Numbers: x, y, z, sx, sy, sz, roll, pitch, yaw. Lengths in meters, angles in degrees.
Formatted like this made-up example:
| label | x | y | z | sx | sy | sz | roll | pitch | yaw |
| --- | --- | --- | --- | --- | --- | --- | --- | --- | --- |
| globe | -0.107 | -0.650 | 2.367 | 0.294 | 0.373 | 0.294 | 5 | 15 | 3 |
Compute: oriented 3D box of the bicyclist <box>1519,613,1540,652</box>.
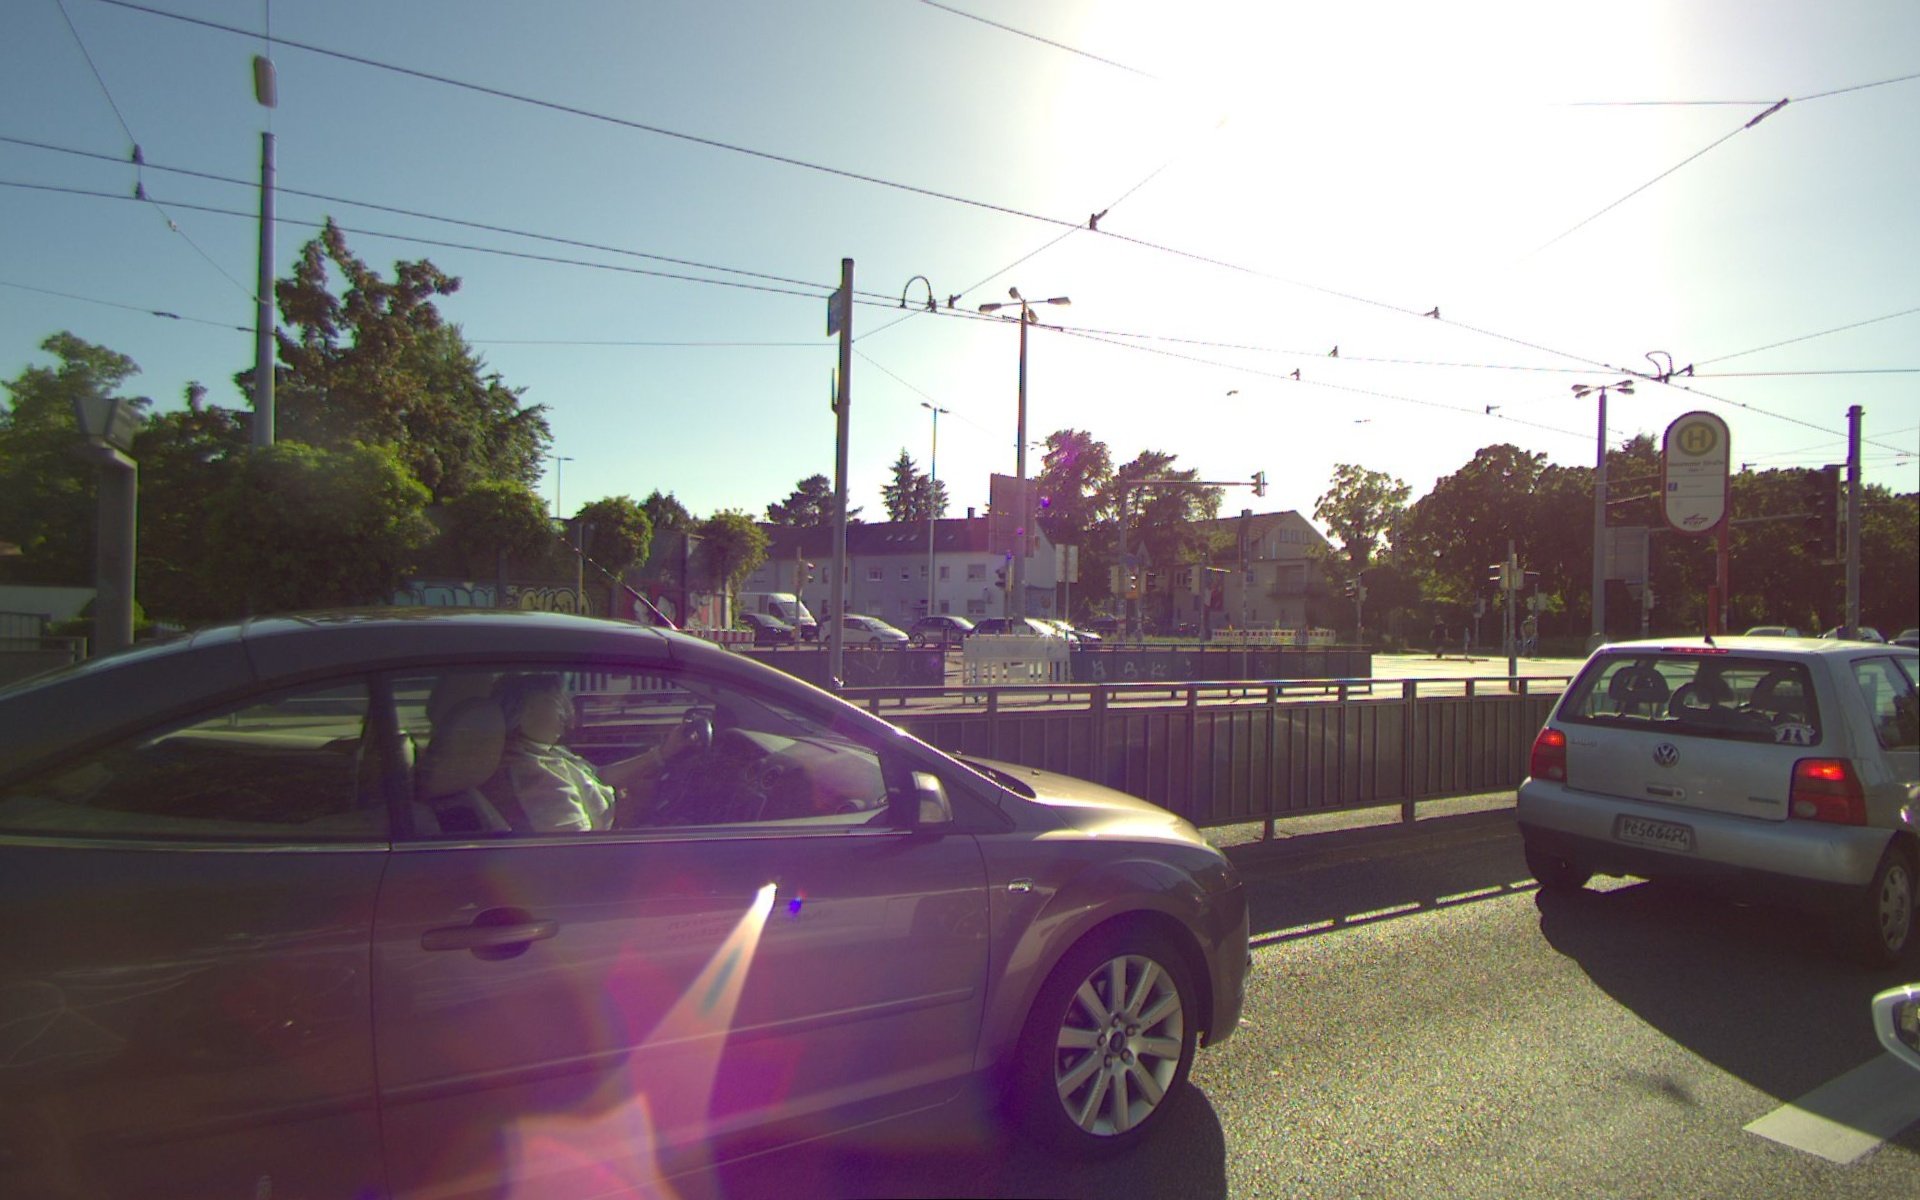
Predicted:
| label | x | y | z | sx | sy | sz | roll | pitch | yaw |
| --- | --- | --- | --- | --- | --- | --- | --- | --- | --- |
| bicyclist | 23.989 | 1.366 | 42.305 | 0.641 | 1.629 | 0.487 | 1 | -1 | -31 |

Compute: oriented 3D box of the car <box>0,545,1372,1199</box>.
| label | x | y | z | sx | sy | sz | roll | pitch | yaw |
| --- | --- | --- | --- | --- | --- | --- | --- | --- | --- |
| car | -0.849 | 0.735 | 2.878 | 4.150 | 1.554 | 1.740 | 2 | -1 | -33 |

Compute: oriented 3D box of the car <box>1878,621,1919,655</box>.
| label | x | y | z | sx | sy | sz | roll | pitch | yaw |
| --- | --- | --- | --- | --- | --- | --- | --- | --- | --- |
| car | 50.088 | 1.993 | 53.016 | 3.965 | 1.710 | 1.778 | 2 | -1 | -37 |

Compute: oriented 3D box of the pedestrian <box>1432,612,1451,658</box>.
| label | x | y | z | sx | sy | sz | roll | pitch | yaw |
| --- | --- | --- | --- | --- | --- | --- | --- | --- | --- |
| pedestrian | 20.663 | 1.498 | 43.081 | 0.599 | 1.974 | 0.776 | 0 | 0 | 16 |

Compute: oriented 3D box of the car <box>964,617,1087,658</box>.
| label | x | y | z | sx | sy | sz | roll | pitch | yaw |
| --- | --- | --- | --- | --- | --- | --- | --- | --- | --- |
| car | 2.512 | 1.426 | 39.066 | 4.556 | 1.496 | 1.668 | 0 | -1 | 32 |

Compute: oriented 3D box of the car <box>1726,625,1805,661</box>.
| label | x | y | z | sx | sy | sz | roll | pitch | yaw |
| --- | --- | --- | --- | --- | --- | --- | --- | --- | --- |
| car | 34.965 | 1.831 | 43.591 | 3.665 | 1.478 | 1.673 | 1 | -1 | -34 |

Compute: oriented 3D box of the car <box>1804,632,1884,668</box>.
| label | x | y | z | sx | sy | sz | roll | pitch | yaw |
| --- | --- | --- | --- | --- | --- | --- | --- | --- | --- |
| car | 43.353 | 2.427 | 49.251 | 4.643 | 1.617 | 1.802 | 1 | -1 | -34 |

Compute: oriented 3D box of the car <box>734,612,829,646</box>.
| label | x | y | z | sx | sy | sz | roll | pitch | yaw |
| --- | --- | --- | --- | --- | --- | --- | --- | --- | --- |
| car | -8.350 | 1.343 | 46.925 | 4.185 | 1.486 | 1.933 | 0 | -1 | 32 |

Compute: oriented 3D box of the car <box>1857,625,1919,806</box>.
| label | x | y | z | sx | sy | sz | roll | pitch | yaw |
| --- | --- | --- | --- | --- | --- | --- | --- | --- | --- |
| car | 10.352 | 1.036 | 9.338 | 4.371 | 1.548 | 1.867 | 2 | -1 | -32 |

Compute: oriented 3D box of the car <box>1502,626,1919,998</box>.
| label | x | y | z | sx | sy | sz | roll | pitch | yaw |
| --- | --- | --- | --- | --- | --- | --- | --- | --- | --- |
| car | 4.792 | 0.923 | 5.687 | 3.376 | 1.487 | 1.573 | 1 | -1 | -32 |

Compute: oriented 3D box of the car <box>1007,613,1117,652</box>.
| label | x | y | z | sx | sy | sz | roll | pitch | yaw |
| --- | --- | --- | --- | --- | --- | --- | --- | --- | --- |
| car | 4.257 | 1.327 | 42.064 | 4.175 | 1.486 | 1.933 | 0 | -1 | 32 |

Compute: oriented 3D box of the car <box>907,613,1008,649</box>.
| label | x | y | z | sx | sy | sz | roll | pitch | yaw |
| --- | --- | --- | --- | --- | --- | --- | --- | --- | --- |
| car | -0.127 | 1.363 | 45.374 | 4.185 | 1.486 | 1.933 | 0 | 0 | 32 |

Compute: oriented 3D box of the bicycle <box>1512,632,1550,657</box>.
| label | x | y | z | sx | sy | sz | roll | pitch | yaw |
| --- | --- | --- | --- | --- | --- | --- | --- | --- | --- |
| bicycle | 24.105 | 1.876 | 42.375 | 1.926 | 1.056 | 0.504 | 1 | -1 | -31 |

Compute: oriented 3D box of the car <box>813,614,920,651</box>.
| label | x | y | z | sx | sy | sz | roll | pitch | yaw |
| --- | --- | --- | --- | --- | --- | --- | --- | --- | --- |
| car | -4.059 | 1.400 | 43.436 | 4.290 | 1.486 | 1.933 | 0 | -1 | 32 |

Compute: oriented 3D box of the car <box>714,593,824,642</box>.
| label | x | y | z | sx | sy | sz | roll | pitch | yaw |
| --- | --- | --- | --- | --- | --- | --- | --- | --- | --- |
| car | -9.995 | 0.874 | 52.438 | 5.823 | 2.443 | 2.174 | 0 | -1 | 35 |
